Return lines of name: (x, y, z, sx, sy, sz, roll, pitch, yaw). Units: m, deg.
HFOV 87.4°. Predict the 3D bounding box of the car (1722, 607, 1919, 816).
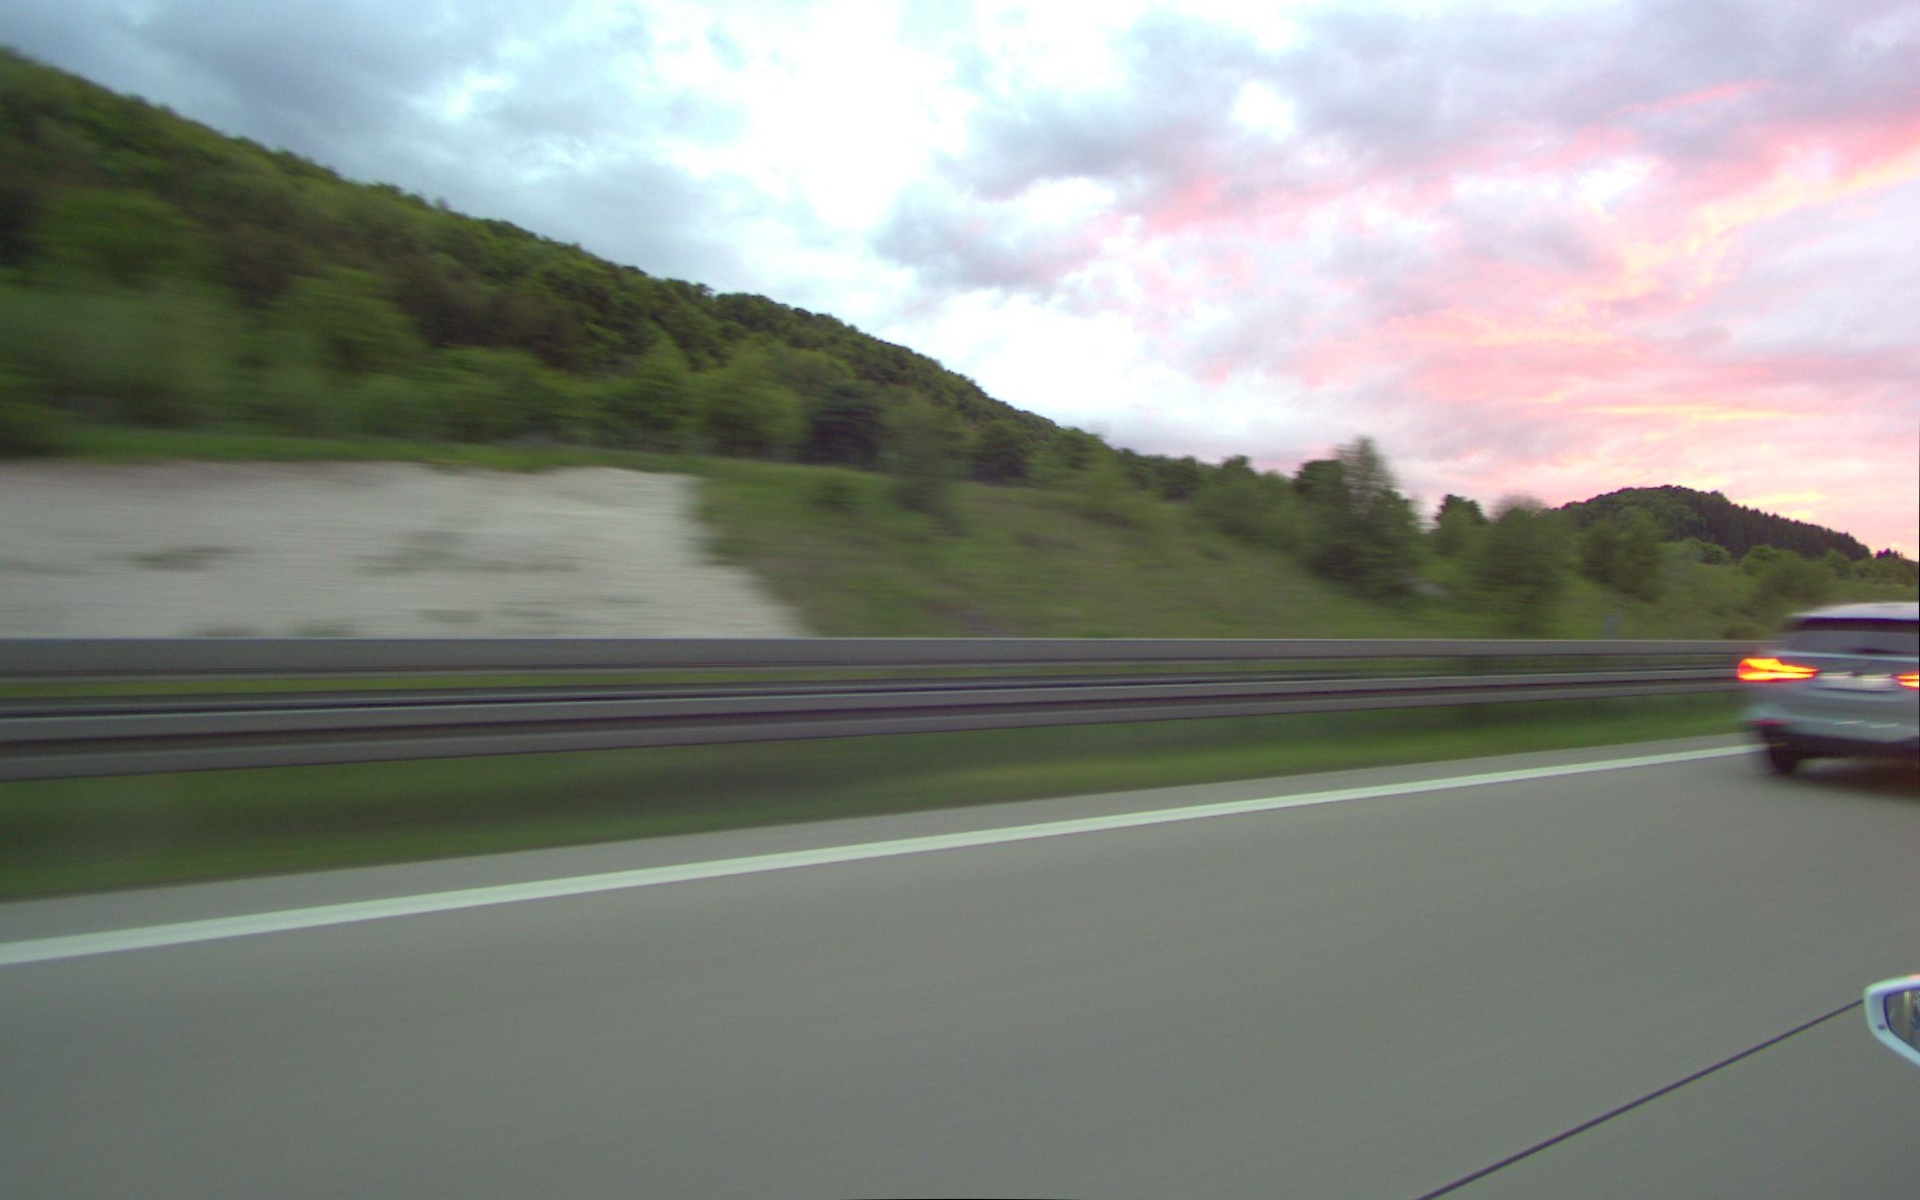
car: (9.970, 0.973, 9.959, 5.574, 1.682, 1.880, 2, -1, -31)
